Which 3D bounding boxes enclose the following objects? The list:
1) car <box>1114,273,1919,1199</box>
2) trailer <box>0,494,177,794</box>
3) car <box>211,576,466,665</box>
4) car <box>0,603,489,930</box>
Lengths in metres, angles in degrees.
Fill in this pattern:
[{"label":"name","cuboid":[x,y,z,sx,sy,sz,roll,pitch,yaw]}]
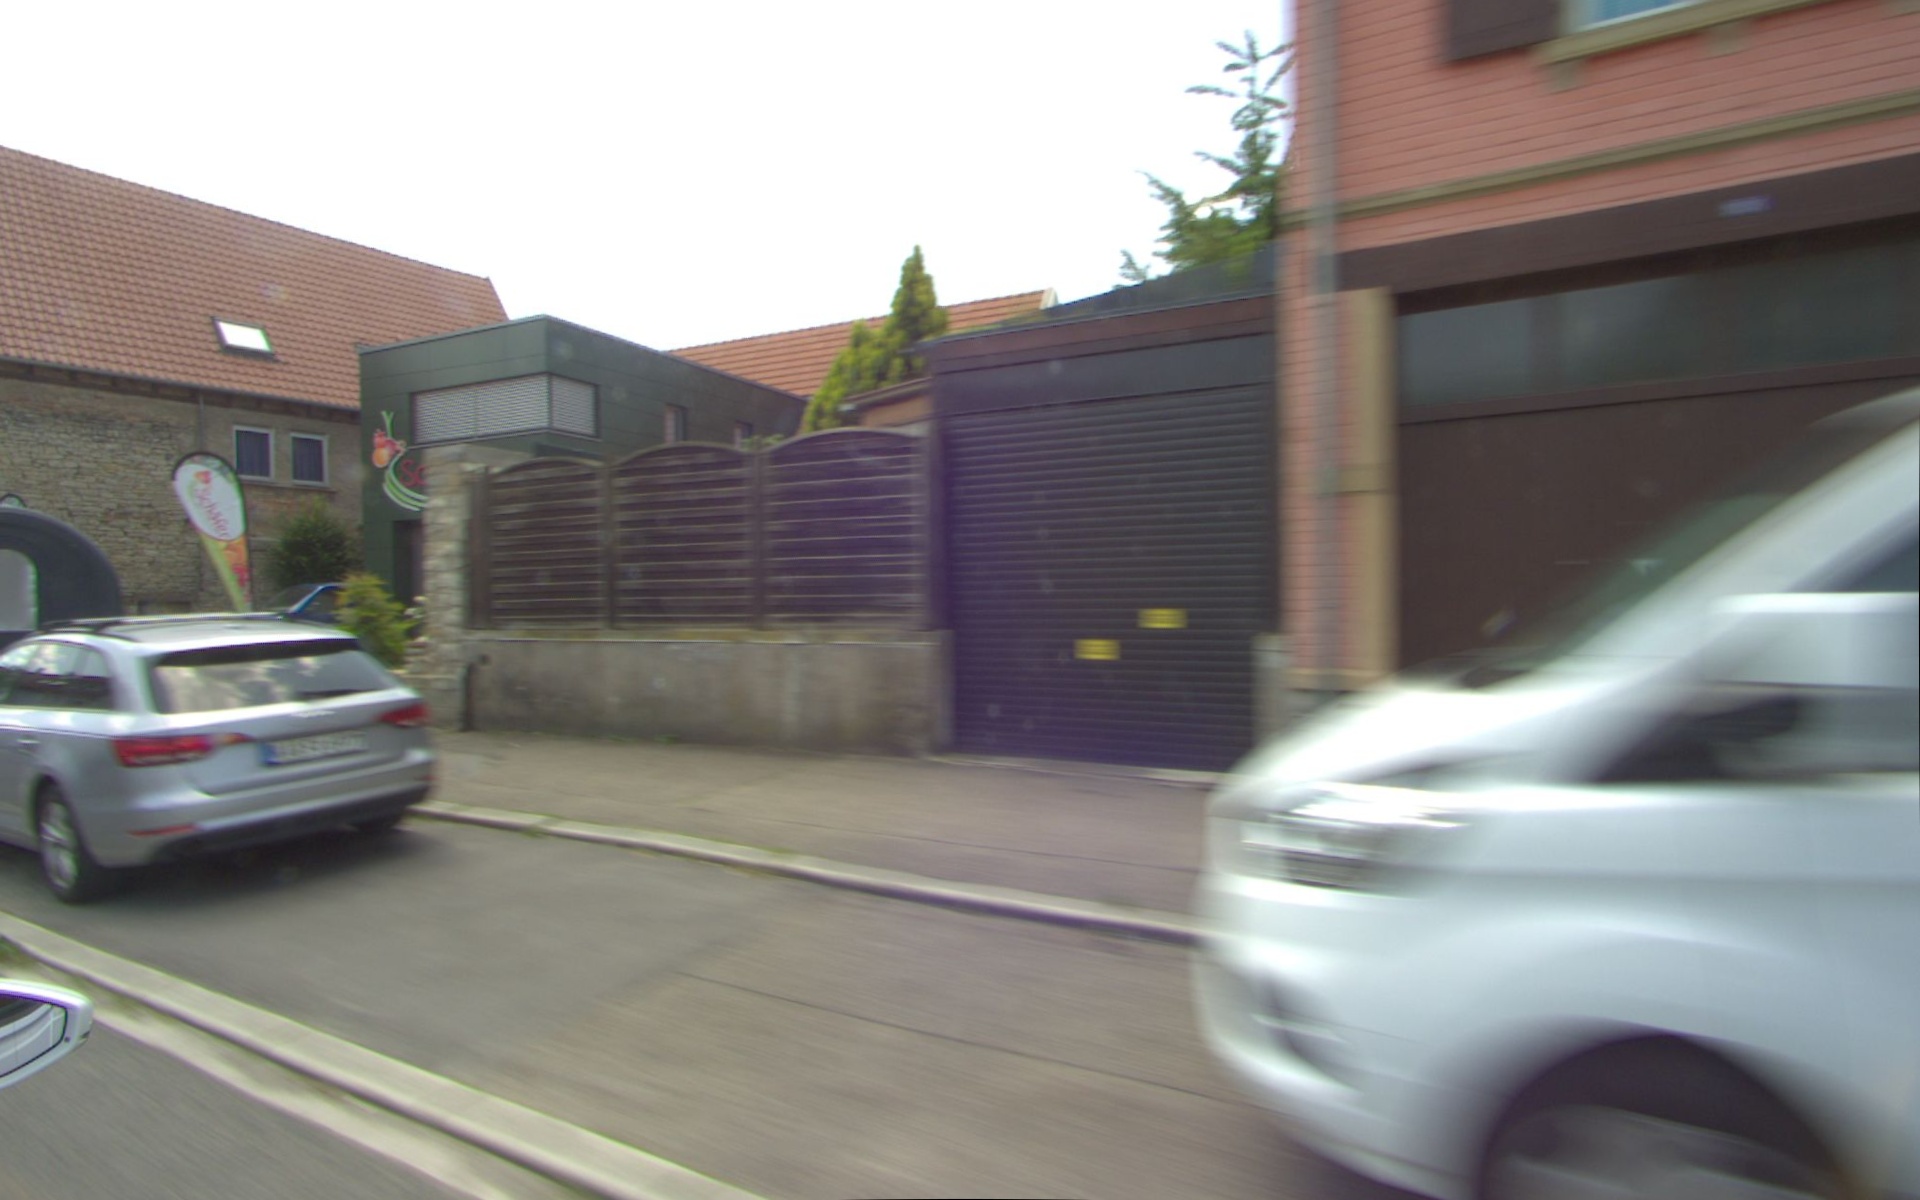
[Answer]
[{"label":"car","cuboid":[2.932,0.441,1.888,4.856,2.009,1.888,-1,2,30]},{"label":"trailer","cuboid":[-9.053,0.361,9.085,3.535,2.386,1.842,0,1,30]},{"label":"car","cuboid":[-15.118,0.455,24.734,1.969,1.976,5.046,0,0,28]},{"label":"car","cuboid":[-5.413,0.803,6.653,4.605,1.501,1.872,-1,1,31]}]
